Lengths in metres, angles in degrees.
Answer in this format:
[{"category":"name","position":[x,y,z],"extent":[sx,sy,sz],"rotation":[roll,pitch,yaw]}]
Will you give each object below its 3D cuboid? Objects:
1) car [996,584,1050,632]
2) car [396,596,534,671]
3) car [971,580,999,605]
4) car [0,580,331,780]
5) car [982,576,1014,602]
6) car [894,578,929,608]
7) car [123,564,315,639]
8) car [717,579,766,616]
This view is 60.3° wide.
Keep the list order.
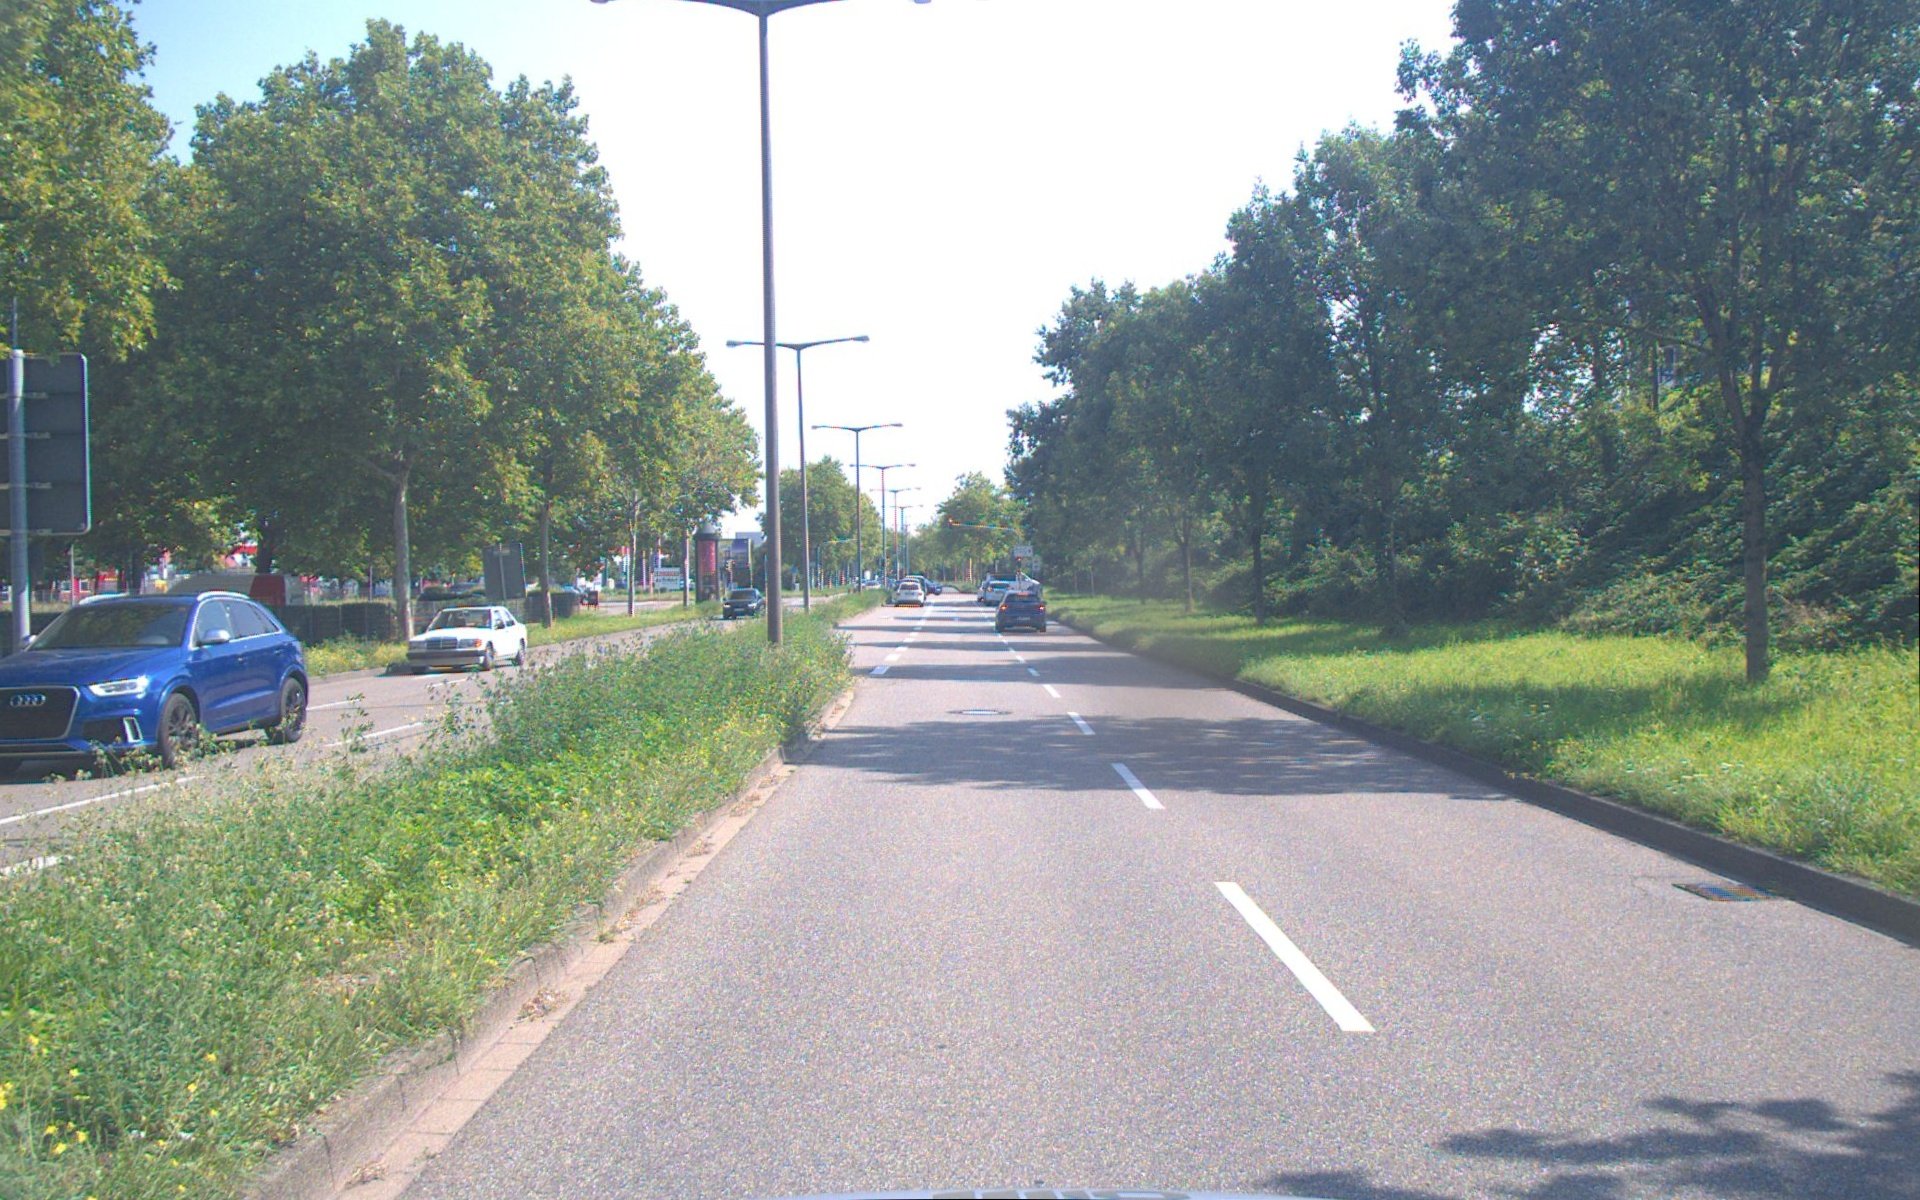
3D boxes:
[{"category":"car","position":[2.226,0.251,59.247],"extent":[1.744,1.452,4.001],"rotation":[1,3,0]},{"category":"car","position":[-10.732,0.677,36.184],"extent":[1.759,1.441,4.408],"rotation":[-3,0,-2]},{"category":"car","position":[1.845,-0.575,122.146],"extent":[1.953,1.682,4.000],"rotation":[0,3,-1]},{"category":"car","position":[-7.853,0.666,15.982],"extent":[1.954,1.612,4.345],"rotation":[-3,0,-2]},{"category":"car","position":[2.491,-0.721,108.614],"extent":[1.953,1.683,3.999],"rotation":[-1,0,-1]},{"category":"car","position":[-2.920,-0.417,100.285],"extent":[1.952,1.731,4.000],"rotation":[-1,0,1]},{"category":"car","position":[-25.053,0.028,56.082],"extent":[5.471,2.377,2.279],"rotation":[1,3,-2]},{"category":"car","position":[-10.796,-0.129,82.105],"extent":[1.953,1.588,4.001],"rotation":[1,3,-1]}]
